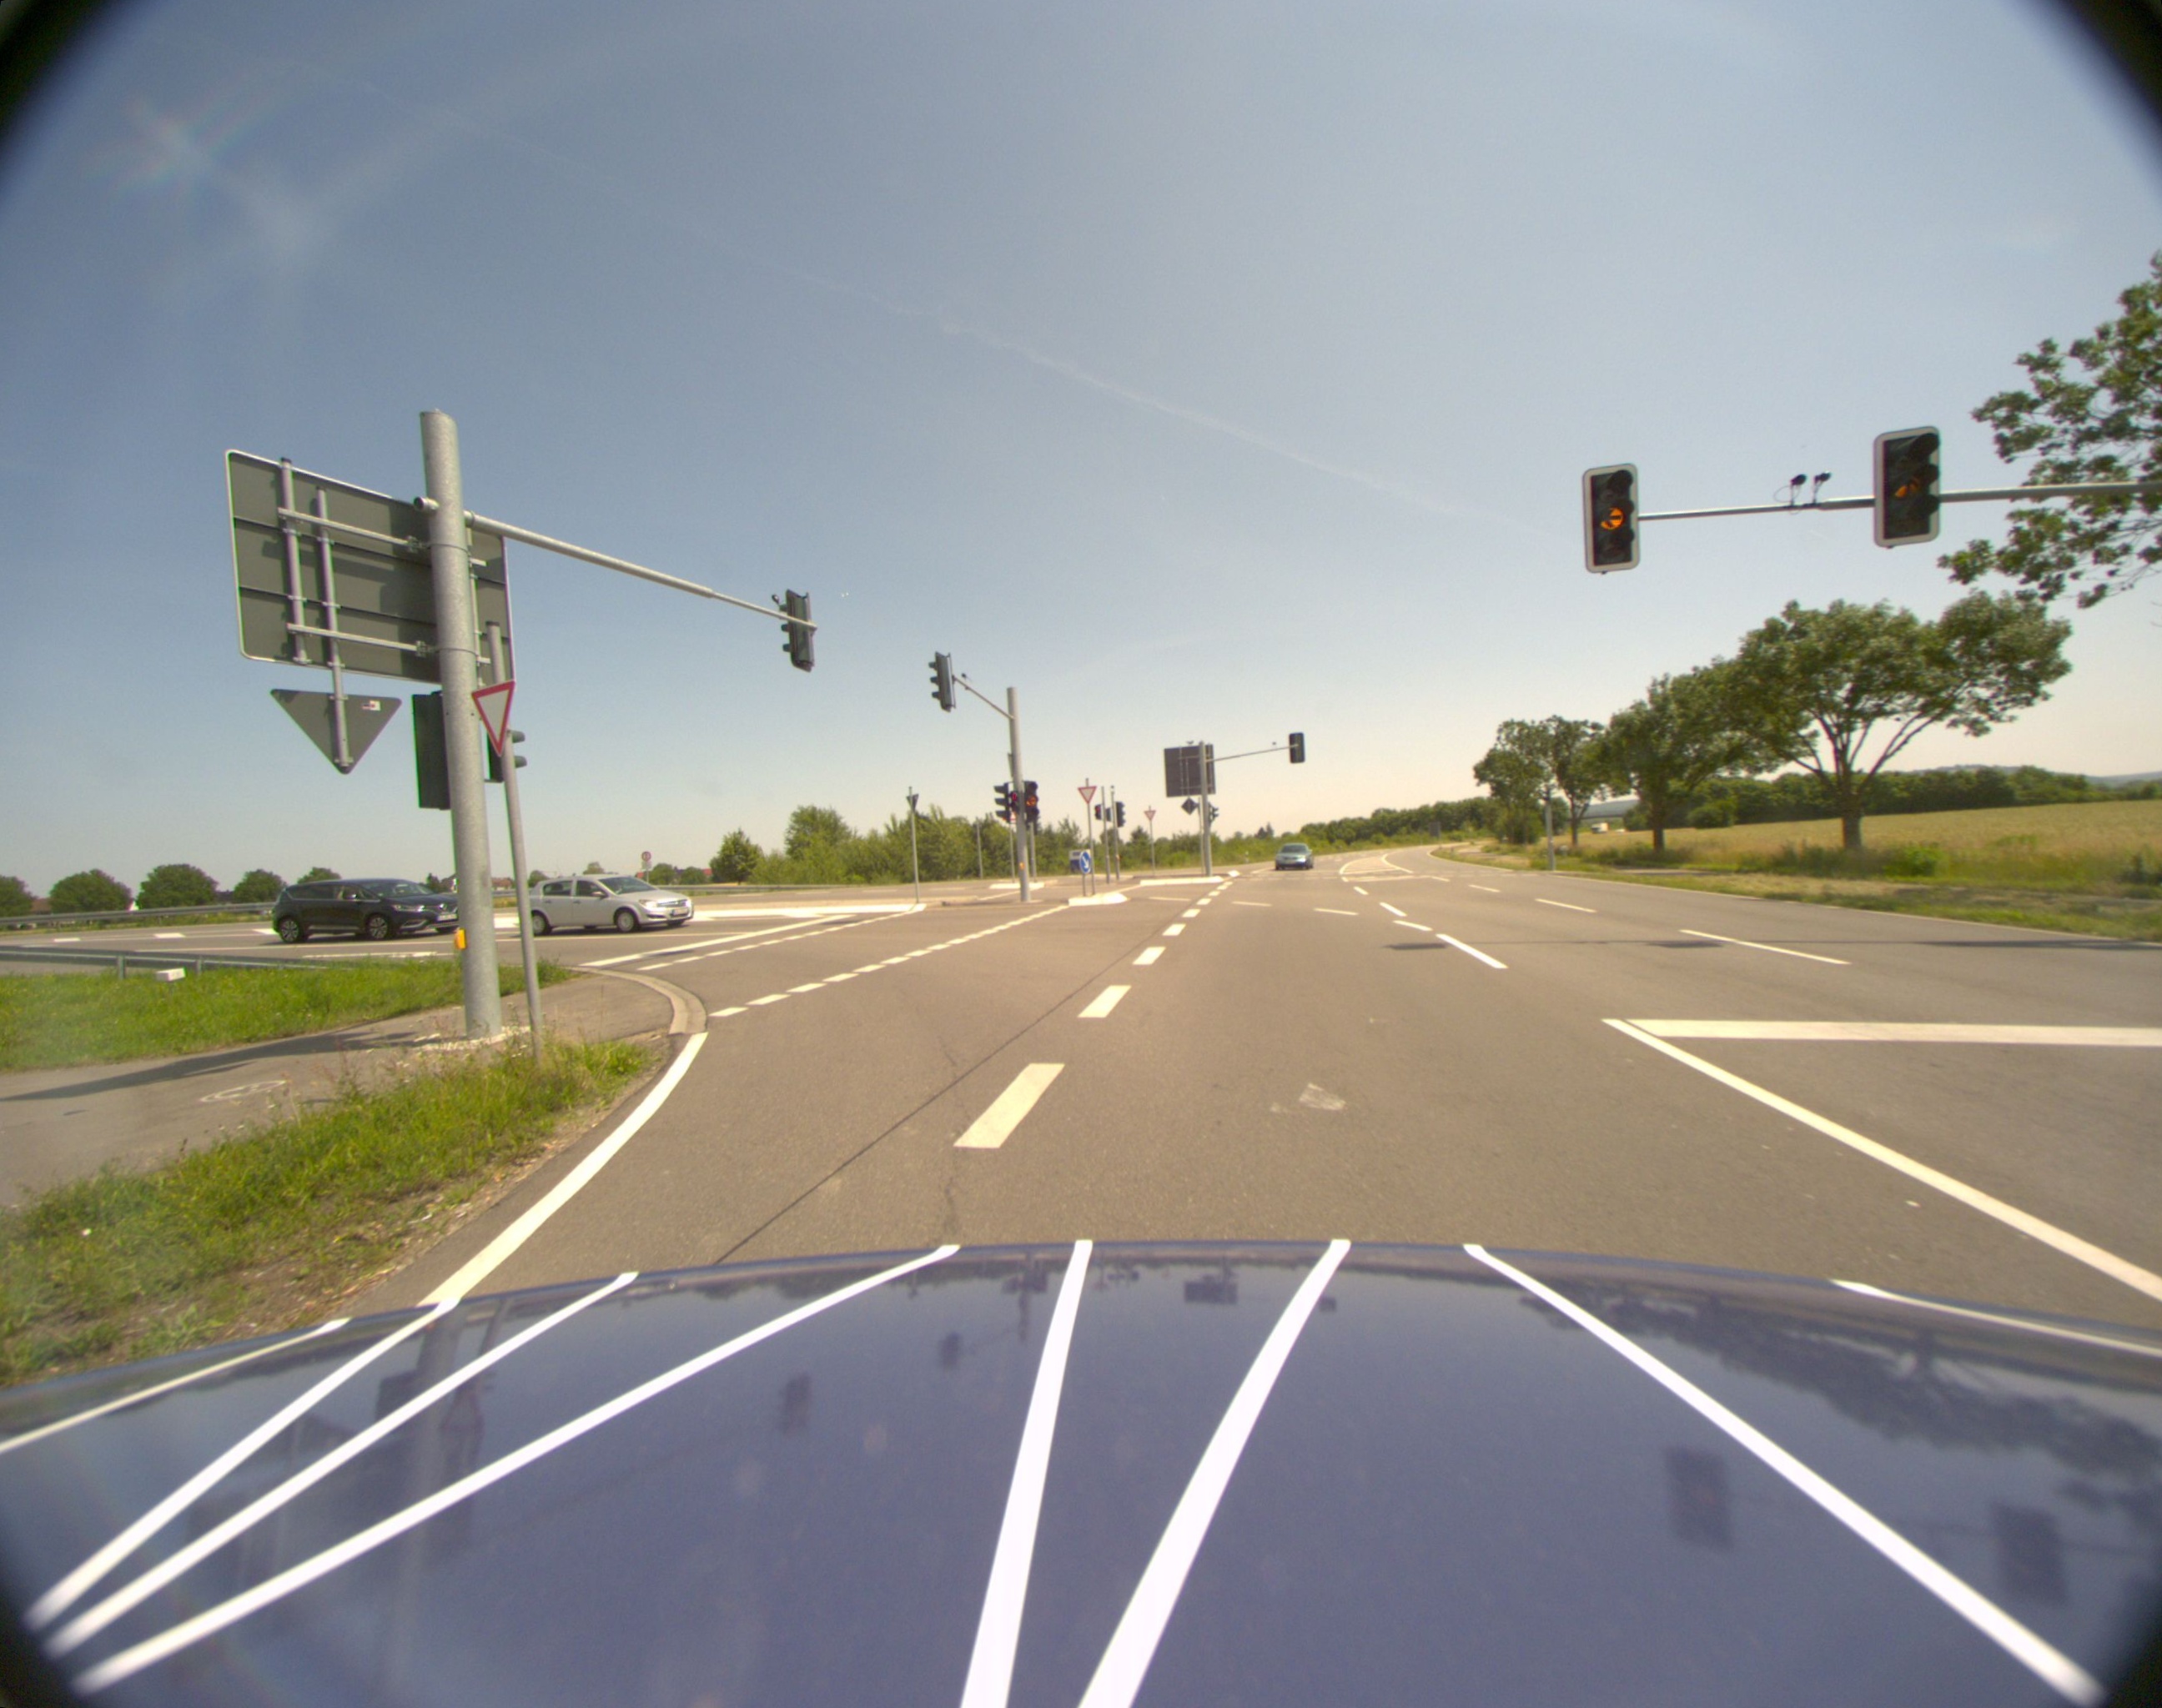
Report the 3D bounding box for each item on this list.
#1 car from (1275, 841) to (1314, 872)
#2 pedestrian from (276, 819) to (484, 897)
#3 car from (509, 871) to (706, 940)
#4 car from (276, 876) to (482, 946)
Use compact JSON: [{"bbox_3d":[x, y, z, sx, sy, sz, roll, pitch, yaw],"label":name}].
[{"bbox_3d":[11.640,0.107,41.243,1.654,1.557,4.005,-2,0,20],"label":"car"},{"bbox_3d":[-20.141,0.070,22.106,1.997,2.002,4.002,-2,1,8],"label":"pedestrian"},{"bbox_3d":[-11.818,1.279,19.053,4.145,1.451,1.662,-3,1,13],"label":"car"},{"bbox_3d":[-19.136,1.536,20.759,4.519,1.631,1.815,-2,2,13],"label":"car"}]
